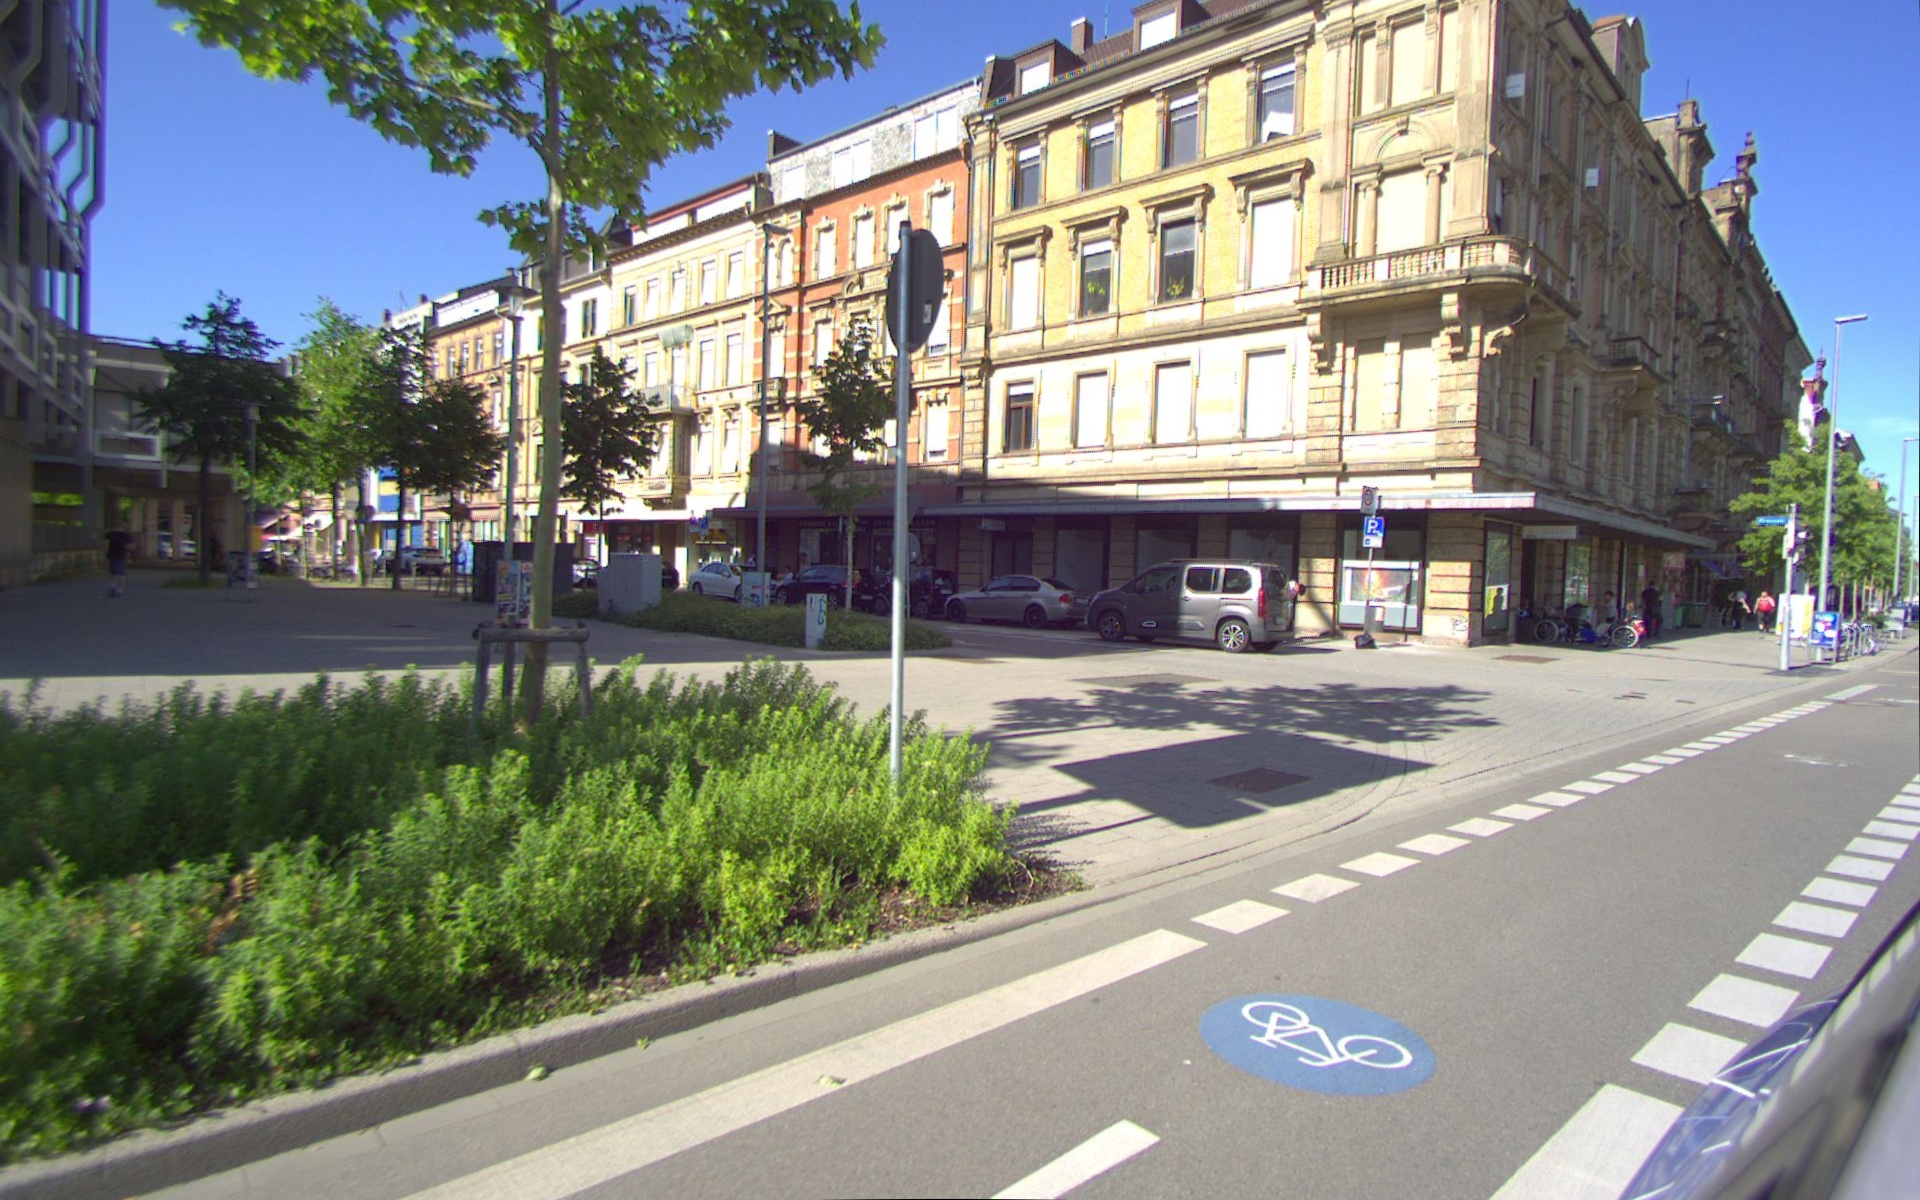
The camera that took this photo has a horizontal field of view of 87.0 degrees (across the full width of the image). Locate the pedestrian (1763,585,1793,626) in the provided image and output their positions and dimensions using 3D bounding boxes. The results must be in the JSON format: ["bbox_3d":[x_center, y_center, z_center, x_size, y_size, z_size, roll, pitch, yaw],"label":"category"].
[{"bbox_3d":[33.535,0.235,41.497,0.795,1.603,0.752,1,3,-44],"label":"pedestrian"}]

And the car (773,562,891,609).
[{"bbox_3d":[-4.188,-0.494,32.809,3.805,1.371,1.628,3,2,39],"label":"car"}]

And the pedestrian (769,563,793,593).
[{"bbox_3d":[-7.007,-0.859,39.663,0.645,1.184,0.670,2,2,42],"label":"pedestrian"}]

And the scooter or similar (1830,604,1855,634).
[{"bbox_3d":[36.972,0.801,42.395,0.320,1.235,0.676,1,1,-21],"label":"scooter or similar"}]

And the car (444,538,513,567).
[{"bbox_3d":[-24.576,-2.426,51.610,3.805,1.371,1.689,3,2,39],"label":"car"}]

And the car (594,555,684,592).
[{"bbox_3d":[-13.125,-1.088,41.287,3.805,1.371,1.689,3,2,39],"label":"car"}]

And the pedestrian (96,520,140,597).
[{"bbox_3d":[-20.160,-0.987,24.241,0.762,1.805,0.640,1,1,-43],"label":"pedestrian"}]

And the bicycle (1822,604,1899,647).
[{"bbox_3d":[27.572,0.768,31.028,1.661,1.123,0.594,6,4,39],"label":"bicycle"}]

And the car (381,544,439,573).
[{"bbox_3d":[-31.069,-2.352,57.103,3.805,1.574,1.515,3,2,39],"label":"car"}]

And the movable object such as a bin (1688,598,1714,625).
[{"bbox_3d":[30.260,0.456,41.314,0.576,1.025,0.692,0,4,-39],"label":"movable object such as a bin"}]

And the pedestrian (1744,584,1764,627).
[{"bbox_3d":[34.396,0.233,43.830,0.491,1.873,0.512,1,1,-36],"label":"pedestrian"}]

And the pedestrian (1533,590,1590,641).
[{"bbox_3d":[15.675,0.381,26.395,0.691,1.232,1.073,0,4,-44],"label":"pedestrian"}]

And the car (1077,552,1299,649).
[{"bbox_3d":[4.713,-0.057,21.208,4.148,1.774,1.792,3,2,39],"label":"car"}]

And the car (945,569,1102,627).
[{"bbox_3d":[1.692,-0.078,27.864,4.171,1.412,1.536,3,1,39],"label":"car"}]

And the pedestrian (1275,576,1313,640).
[{"bbox_3d":[7.909,0.167,23.988,0.680,1.468,0.535,3,3,42],"label":"pedestrian"}]

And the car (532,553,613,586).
[{"bbox_3d":[-17.175,-1.366,44.806,3.805,1.371,1.689,3,2,39],"label":"car"}]

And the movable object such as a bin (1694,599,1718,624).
[{"bbox_3d":[30.738,0.455,41.701,0.576,0.986,0.692,0,1,-39],"label":"movable object such as a bin"}]

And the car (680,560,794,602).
[{"bbox_3d":[-8.087,-0.715,36.526,4.418,1.371,1.628,3,2,39],"label":"car"}]

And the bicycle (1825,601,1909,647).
[{"bbox_3d":[28.789,0.741,32.150,0.680,1.266,1.867,0,5,-44],"label":"bicycle"}]

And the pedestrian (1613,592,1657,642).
[{"bbox_3d":[17.531,0.441,26.283,0.635,1.232,0.719,0,4,-38],"label":"pedestrian"}]

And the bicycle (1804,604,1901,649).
[{"bbox_3d":[26.618,0.761,30.215,0.593,1.133,2.052,0,4,-43],"label":"bicycle"}]

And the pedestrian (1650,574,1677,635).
[{"bbox_3d":[21.607,0.131,31.081,0.491,1.824,0.512,1,1,-36],"label":"pedestrian"}]

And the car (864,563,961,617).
[{"bbox_3d":[-1.459,-0.324,30.689,2.777,1.513,1.287,3,2,39],"label":"car"}]

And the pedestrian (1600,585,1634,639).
[{"bbox_3d":[17.657,0.315,27.193,0.637,1.411,0.573,0,4,-45],"label":"pedestrian"}]

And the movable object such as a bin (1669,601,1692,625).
[{"bbox_3d":[28.313,0.494,39.761,0.467,0.876,0.606,0,4,-39],"label":"movable object such as a bin"}]

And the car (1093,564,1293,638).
[{"bbox_3d":[5.610,-0.034,24.642,4.387,1.563,1.827,3,2,39],"label":"car"}]
